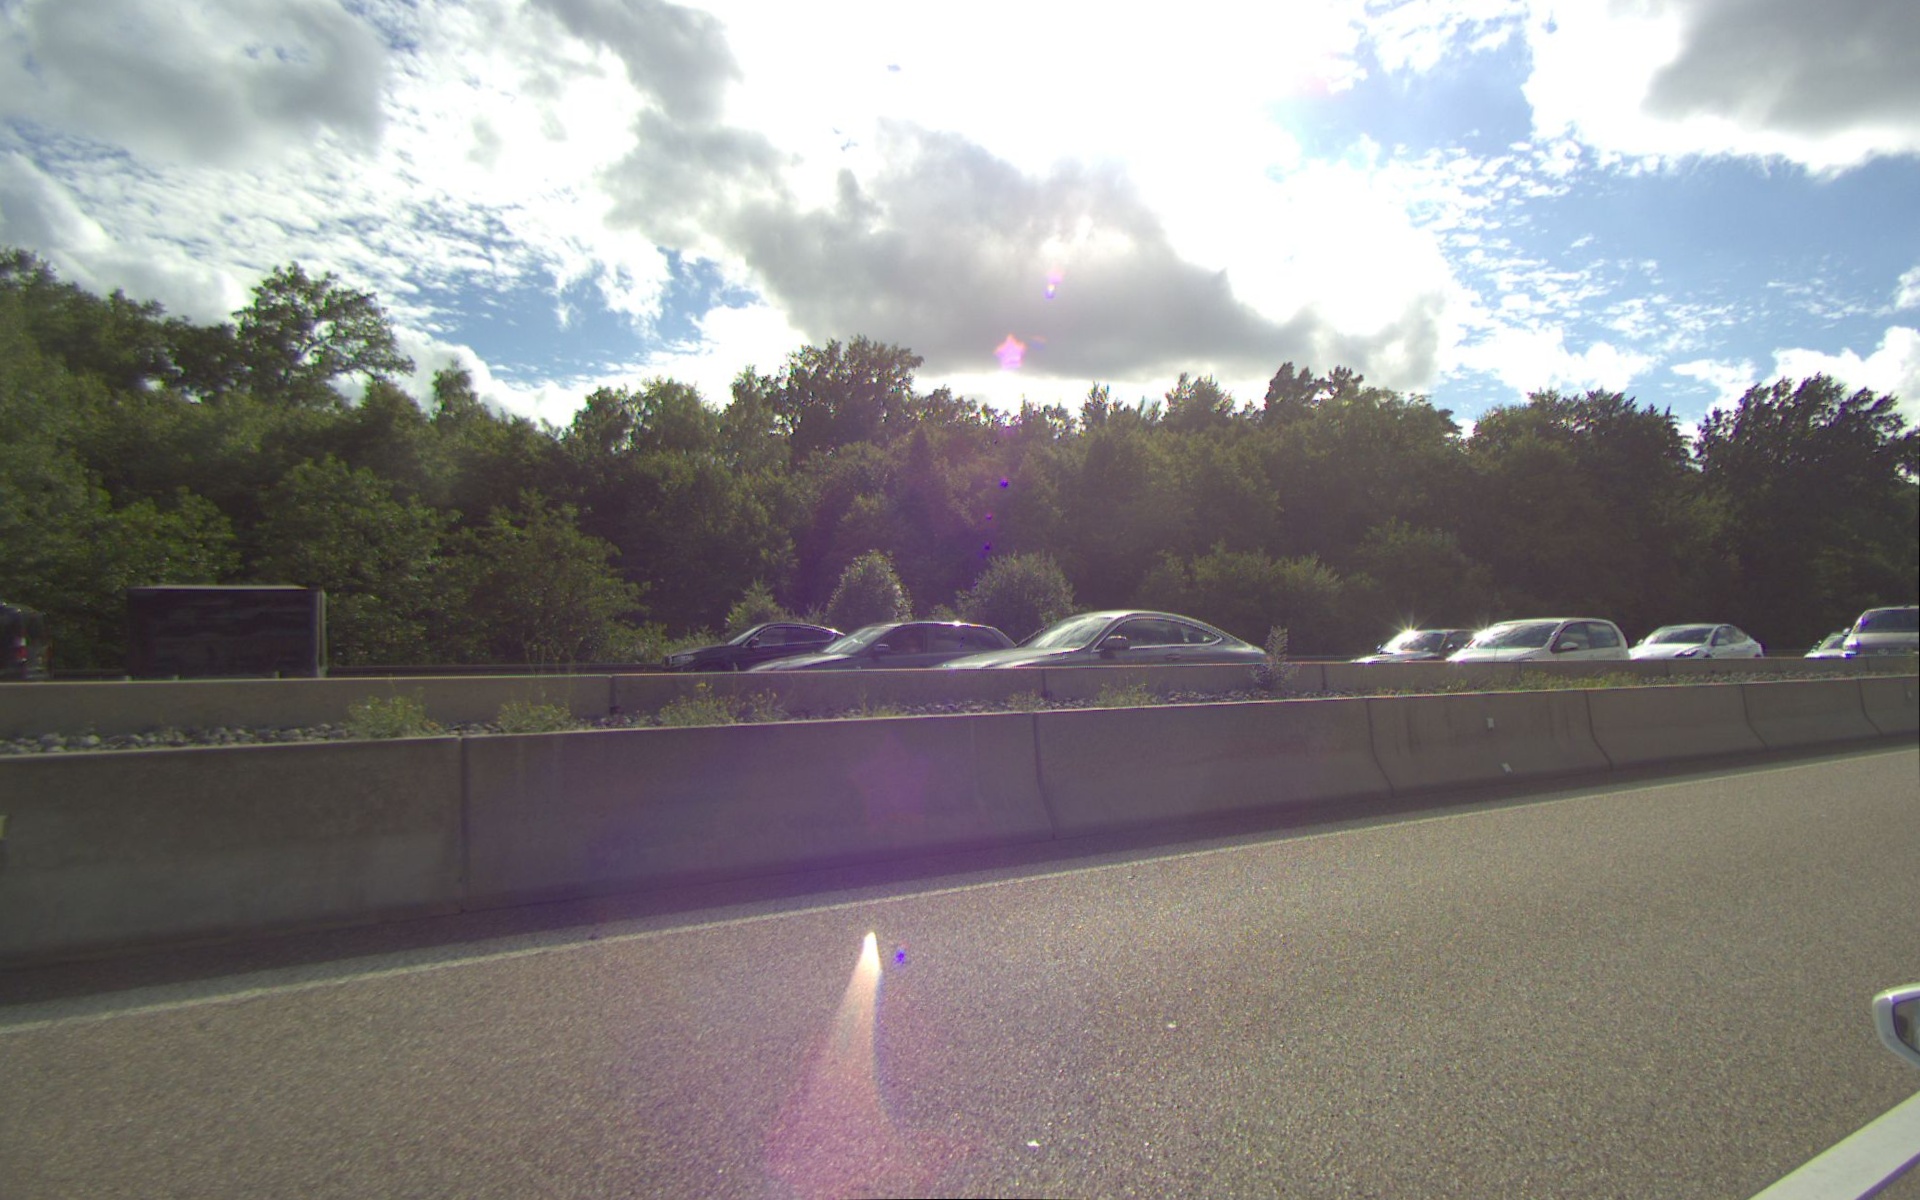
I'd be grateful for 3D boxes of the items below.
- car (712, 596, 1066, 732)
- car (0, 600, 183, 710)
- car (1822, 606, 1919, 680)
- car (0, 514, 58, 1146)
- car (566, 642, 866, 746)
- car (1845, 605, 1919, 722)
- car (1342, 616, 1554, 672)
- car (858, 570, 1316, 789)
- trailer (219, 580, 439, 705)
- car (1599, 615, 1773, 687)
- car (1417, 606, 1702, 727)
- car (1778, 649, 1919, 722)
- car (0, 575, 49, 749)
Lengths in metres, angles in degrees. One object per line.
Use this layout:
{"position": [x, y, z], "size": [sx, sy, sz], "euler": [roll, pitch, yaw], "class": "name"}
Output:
{"position": [-0.949, 0.868, 13.994], "size": [4.471, 1.617, 1.984], "euler": [3, -1, -30], "class": "car"}
{"position": [-17.684, 1.007, 18.334], "size": [5.227, 1.931, 1.937], "euler": [3, -5, -31], "class": "car"}
{"position": [22.686, 0.995, 23.768], "size": [4.757, 1.593, 1.984], "euler": [1, 0, -30], "class": "car"}
{"position": [-4.314, 0.521, 0.781], "size": [5.048, 1.628, 1.890], "euler": [2, -1, -32], "class": "car"}
{"position": [-5.380, 2.085, 22.634], "size": [6.252, 2.040, 1.877], "euler": [3, -1, -30], "class": "car"}
{"position": [17.774, 1.095, 17.832], "size": [3.954, 1.946, 1.984], "euler": [1, 0, -31], "class": "car"}
{"position": [9.904, 0.863, 20.351], "size": [3.952, 0.983, 1.984], "euler": [1, 0, -30], "class": "car"}
{"position": [1.539, 0.789, 11.417], "size": [5.030, 2.040, 1.896], "euler": [1, 0, -30], "class": "car"}
{"position": [-13.216, 0.976, 21.279], "size": [3.652, 2.400, 2.179], "euler": [3, -5, -31], "class": "trailer"}
{"position": [19.371, 1.319, 26.749], "size": [4.705, 1.756, 1.984], "euler": [1, 0, -30], "class": "car"}
{"position": [10.222, 1.113, 17.030], "size": [5.033, 1.758, 1.983], "euler": [3, -1, -31], "class": "car"}
{"position": [27.857, 2.622, 31.473], "size": [4.405, 2.040, 1.984], "euler": [2, -1, -30], "class": "car"}
{"position": [-10.711, 0.479, 8.541], "size": [3.953, 1.617, 1.984], "euler": [3, -1, -30], "class": "car"}
